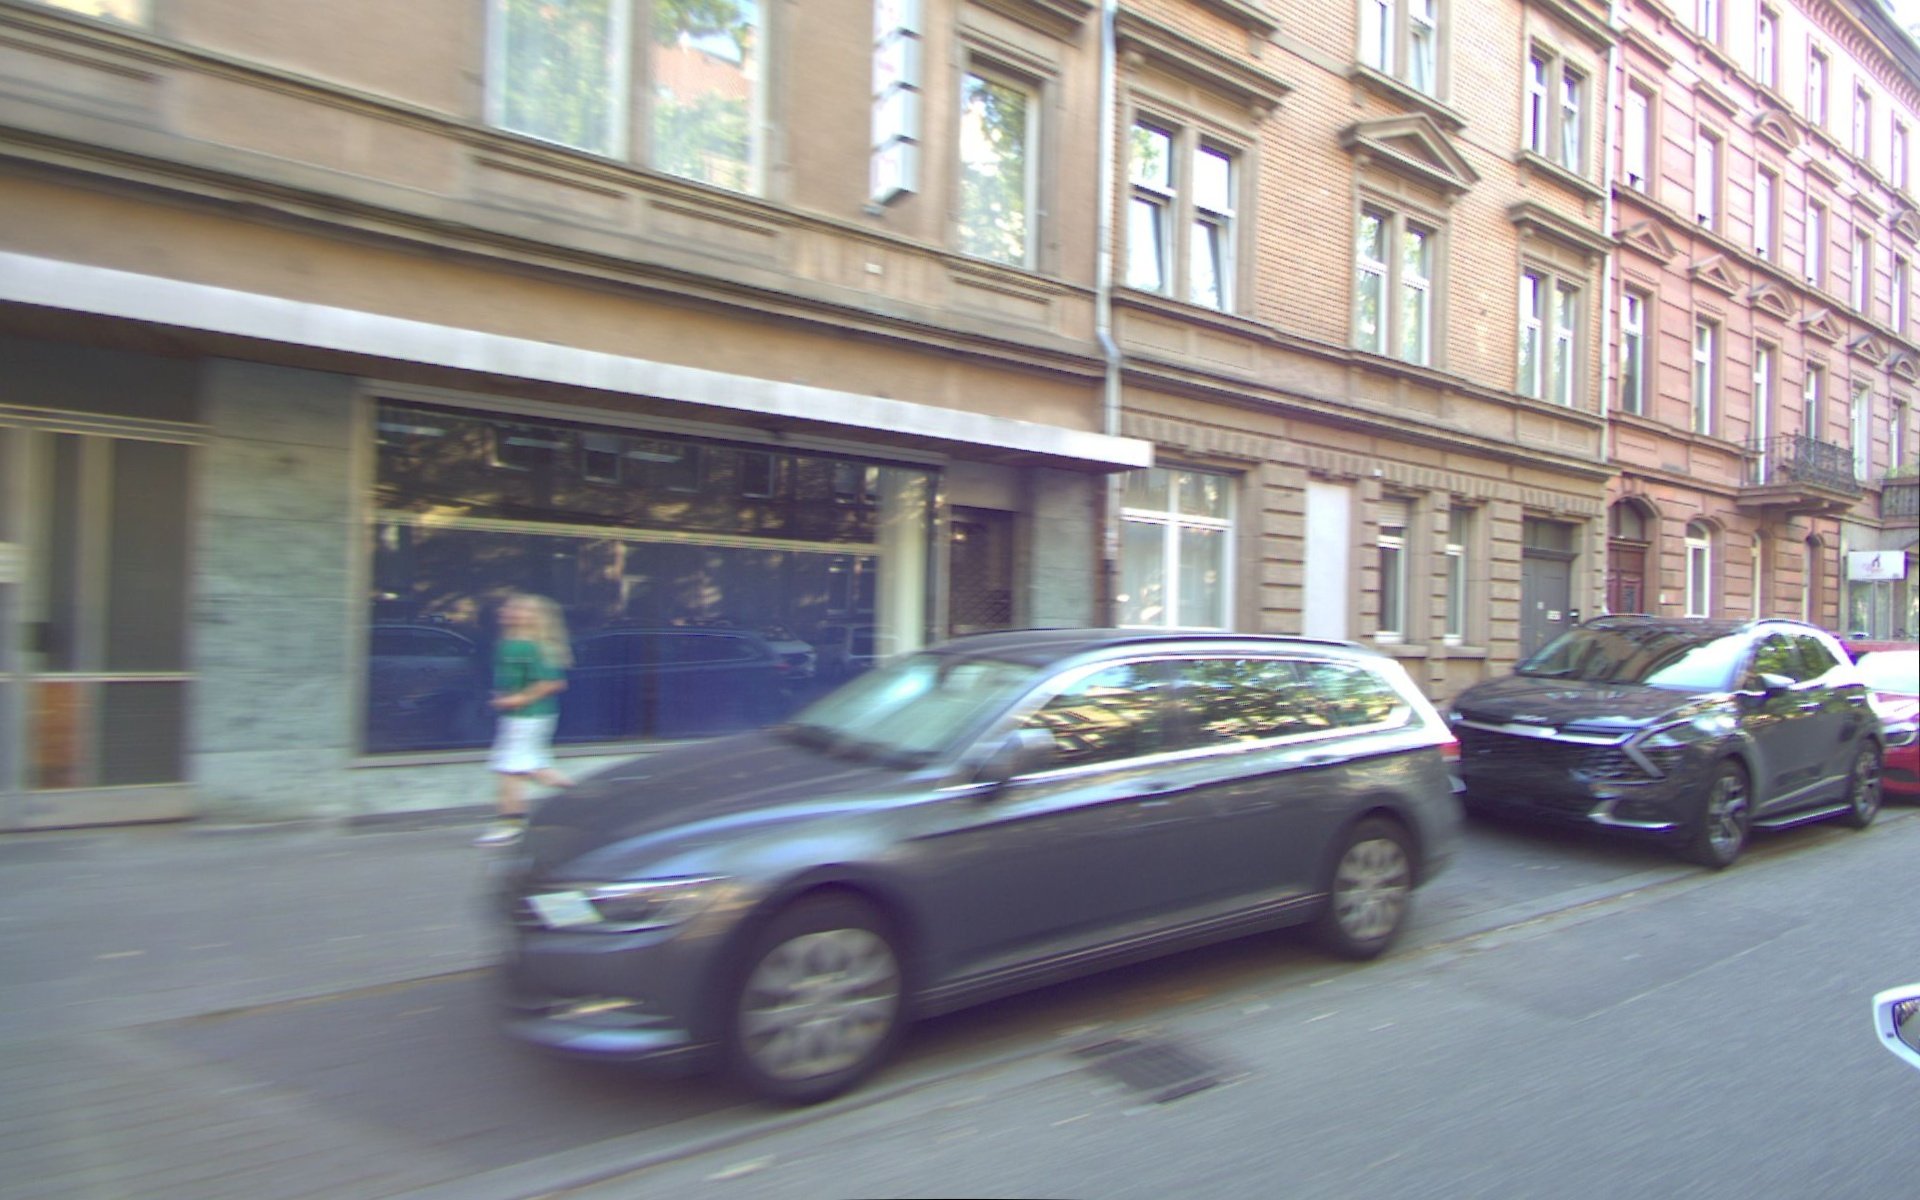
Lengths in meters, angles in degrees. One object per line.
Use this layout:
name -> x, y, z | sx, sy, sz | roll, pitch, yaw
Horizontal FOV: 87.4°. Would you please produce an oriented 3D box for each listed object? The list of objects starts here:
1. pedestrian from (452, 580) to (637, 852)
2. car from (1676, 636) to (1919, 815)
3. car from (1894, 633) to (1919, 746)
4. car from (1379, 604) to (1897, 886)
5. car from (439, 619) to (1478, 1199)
pedestrian -> -2.765, 0.717, 6.678 | 1.008, 1.653, 0.691 | 1, -1, -34
car -> 9.485, 1.145, 10.497 | 4.267, 1.445, 1.810 | 1, 0, -33
car -> 14.941, 1.248, 13.982 | 4.376, 1.497, 1.810 | 1, 0, -33
car -> 5.380, 0.899, 7.818 | 4.267, 1.621, 1.810 | 1, 0, -33
car -> 0.198, 0.856, 4.564 | 4.438, 1.492, 1.852 | 1, -1, -32
